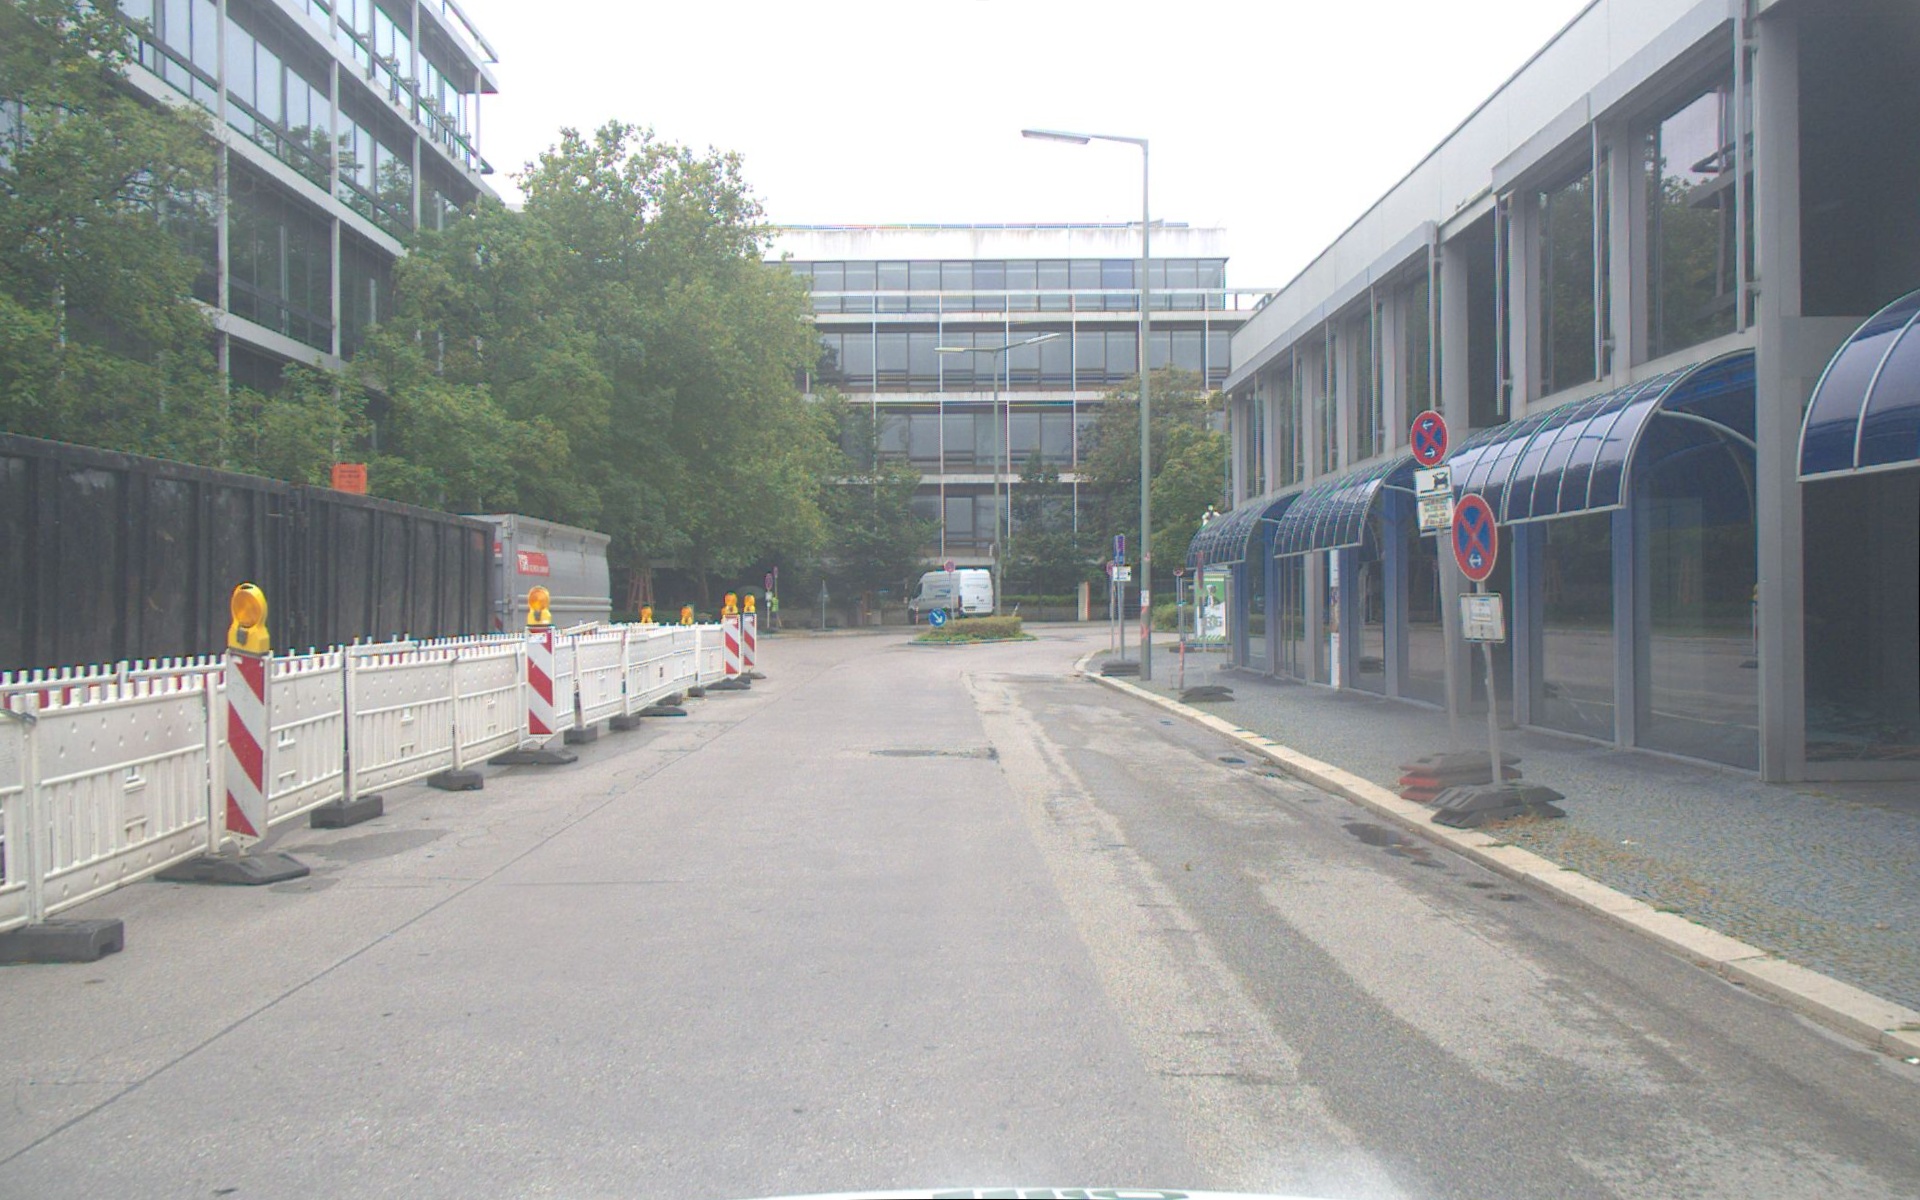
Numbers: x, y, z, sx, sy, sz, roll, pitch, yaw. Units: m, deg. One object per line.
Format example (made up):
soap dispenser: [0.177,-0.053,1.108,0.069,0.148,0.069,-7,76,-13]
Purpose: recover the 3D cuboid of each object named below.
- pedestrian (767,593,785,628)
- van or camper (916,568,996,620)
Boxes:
pedestrian: [-9.045,0.497,81.121,0.730,1.706,0.678,0,0,-20]
van or camper: [-0.245,-0.277,82.560,2.060,2.535,5.025,0,0,-26]
